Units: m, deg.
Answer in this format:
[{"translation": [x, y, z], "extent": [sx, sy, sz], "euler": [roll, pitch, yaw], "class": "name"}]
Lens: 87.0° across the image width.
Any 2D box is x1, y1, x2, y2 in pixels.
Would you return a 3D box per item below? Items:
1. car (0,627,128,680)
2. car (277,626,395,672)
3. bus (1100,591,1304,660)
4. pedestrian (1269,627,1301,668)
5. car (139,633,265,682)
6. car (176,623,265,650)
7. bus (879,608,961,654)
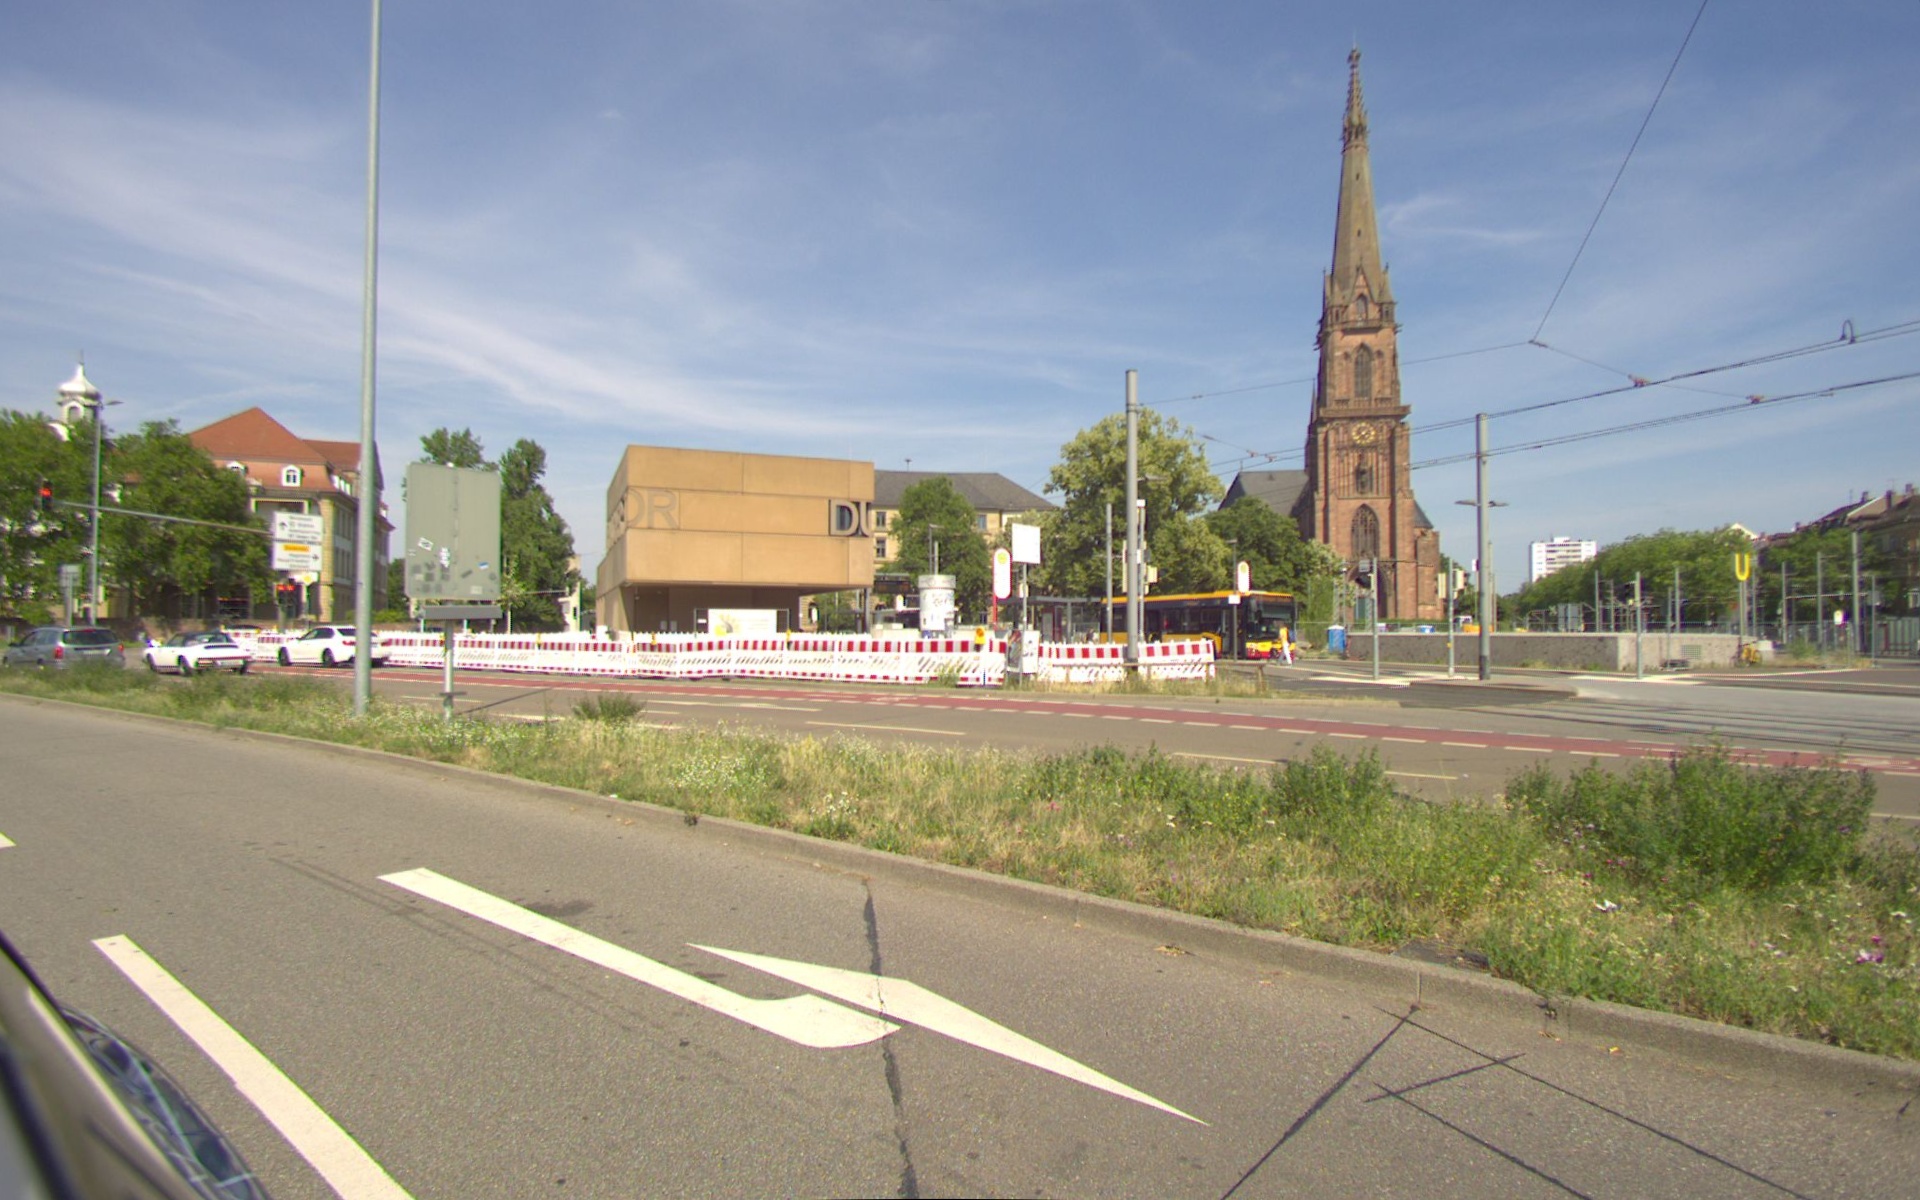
[{"translation": [-24.700, 1.424, 27.802], "extent": [3.984, 1.296, 1.583], "euler": [-1, 0, 30], "class": "car"}, {"translation": [-21.399, 1.641, 34.667], "extent": [3.984, 1.431, 1.785], "euler": [-1, 0, 30], "class": "car"}, {"translation": [10.491, 1.022, 45.987], "extent": [2.711, 2.703, 11.828], "euler": [-1, 0, -22], "class": "bus"}, {"translation": [11.198, 1.633, 34.910], "extent": [0.911, 1.377, 0.532], "euler": [-1, 0, 41], "class": "pedestrian"}, {"translation": [-22.431, 1.663, 29.927], "extent": [3.984, 1.296, 1.583], "euler": [-1, 0, 30], "class": "car"}, {"translation": [-43.764, 2.157, 60.026], "extent": [1.743, 1.454, 4.092], "euler": [-1, 0, 16], "class": "car"}, {"translation": [-3.341, 2.451, 79.574], "extent": [2.710, 3.348, 11.827], "euler": [1, -2, -22], "class": "bus"}]
